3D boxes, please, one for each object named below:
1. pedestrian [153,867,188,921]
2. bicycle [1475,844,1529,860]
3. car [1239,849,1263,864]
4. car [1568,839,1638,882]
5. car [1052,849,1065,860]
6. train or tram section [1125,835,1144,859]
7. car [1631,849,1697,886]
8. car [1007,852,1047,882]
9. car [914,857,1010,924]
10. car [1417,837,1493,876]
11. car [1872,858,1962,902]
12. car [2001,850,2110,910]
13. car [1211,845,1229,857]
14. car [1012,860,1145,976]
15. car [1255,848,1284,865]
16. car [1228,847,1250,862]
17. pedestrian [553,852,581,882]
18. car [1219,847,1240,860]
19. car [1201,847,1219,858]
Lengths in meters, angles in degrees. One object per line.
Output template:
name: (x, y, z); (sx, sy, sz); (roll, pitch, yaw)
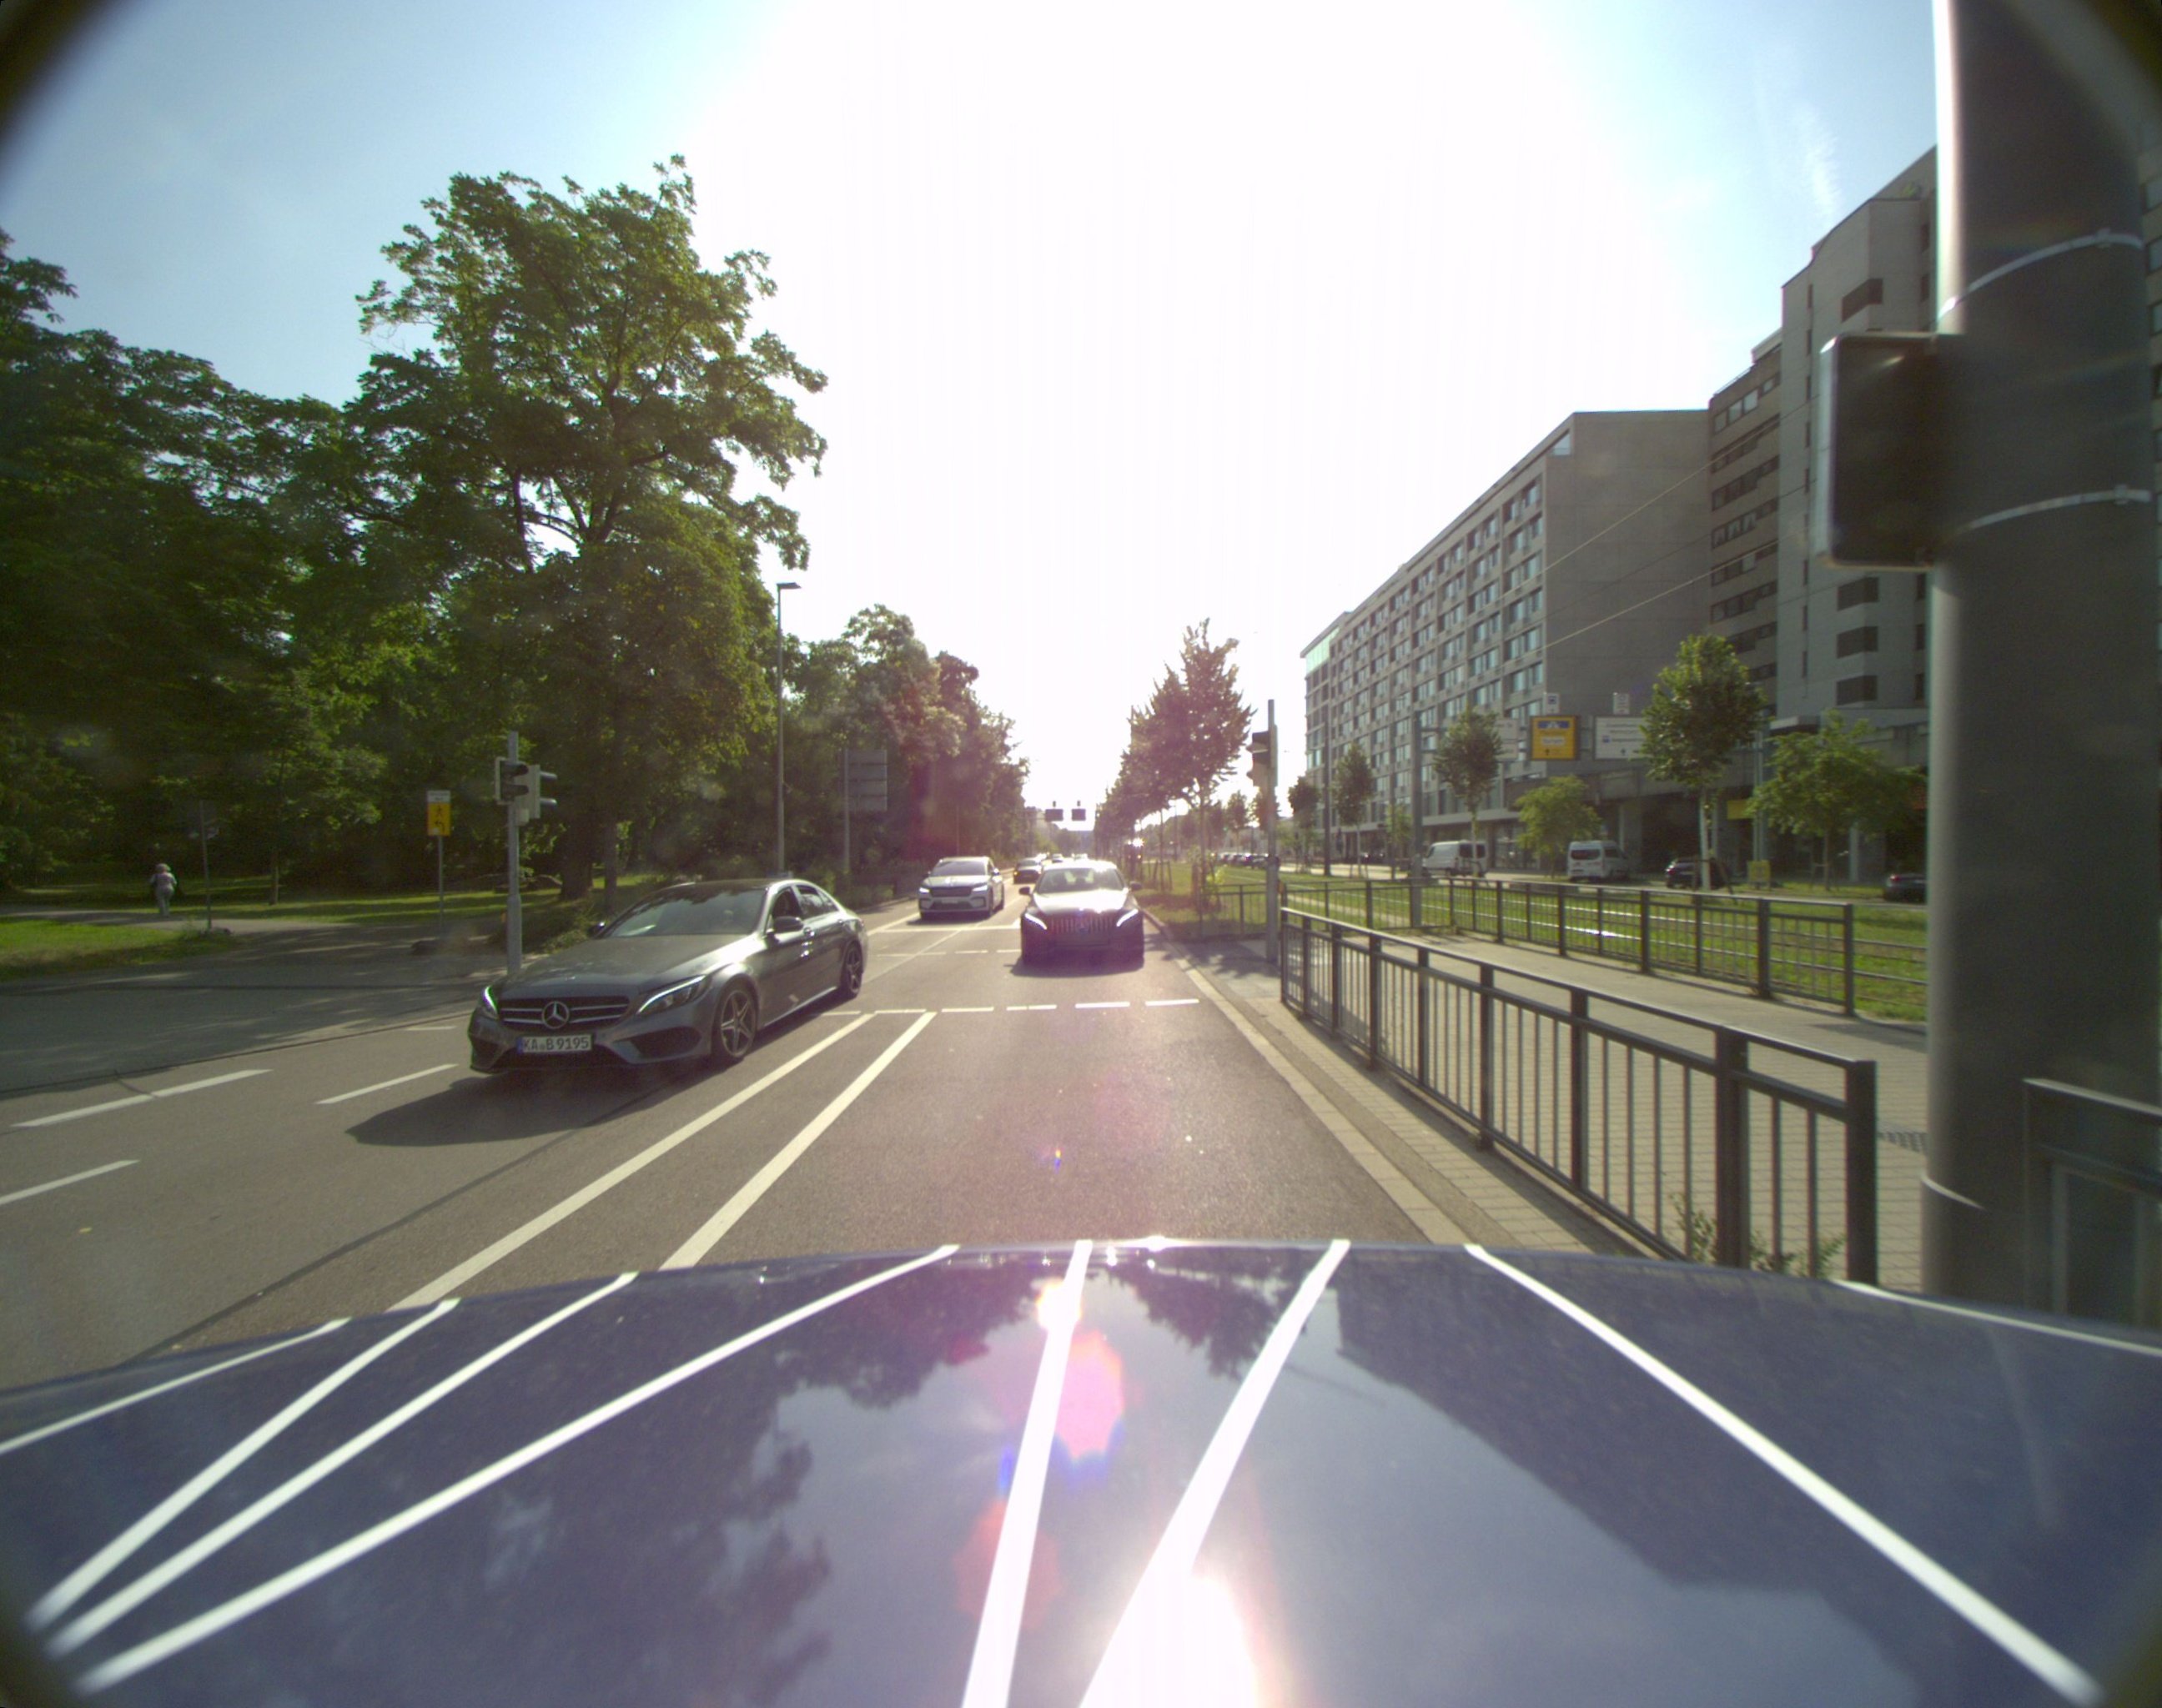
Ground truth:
pedestrian: (-26.353, 1.148, 21.982); (0.668, 1.509, 0.535); (0, 1, 32)
bicycle: (37.282, -0.212, 67.310); (3.994, 1.358, 1.127); (0, 1, 9)
car: (17.312, 0.283, 77.425); (1.745, 1.478, 3.641); (-1, 1, 2)
car: (29.335, 0.297, 42.642); (5.419, 2.295, 1.879); (-1, 1, -40)
car: (-3.396, 0.120, 114.437); (1.905, 1.584, 4.000); (0, 0, 0)
train or tram section: (7.809, -1.014, 112.175); (2.500, 3.409, 6.669); (0, 0, 1)
car: (28.149, 0.625, 36.651); (2.097, 1.573, 4.008); (-2, 1, 44)
car: (-3.062, 0.716, 43.835); (1.998, 1.630, 3.999); (-1, 1, 0)
car: (-3.183, 0.926, 21.135); (1.897, 1.561, 4.250); (-2, 1, 1)
car: (23.018, 0.123, 47.053); (2.051, 2.225, 5.333); (-1, 0, -1)
car: (29.047, 0.869, 26.357); (4.119, 1.237, 1.874); (-3, 1, -39)
car: (29.070, 0.712, 22.773); (4.119, 1.597, 1.874); (-1, 1, -39)
car: (17.625, -0.341, 96.560); (1.812, 1.466, 4.000); (0, 1, 2)
car: (-0.008, 0.903, 12.797); (1.760, 1.437, 4.617); (-3, 0, 1)
car: (17.244, 0.189, 69.738); (1.812, 1.472, 4.000); (0, 1, 2)
car: (17.413, 0.010, 83.805); (1.812, 1.565, 4.000); (0, 1, 2)
pedestrian: (-31.242, 0.788, 46.210); (0.983, 1.820, 1.072); (0, 1, 30)
car: (17.385, -0.063, 89.282); (1.812, 1.565, 4.000); (0, 1, 2)
car: (17.778, -0.233, 104.868); (1.787, 1.516, 4.000); (0, 1, 1)
